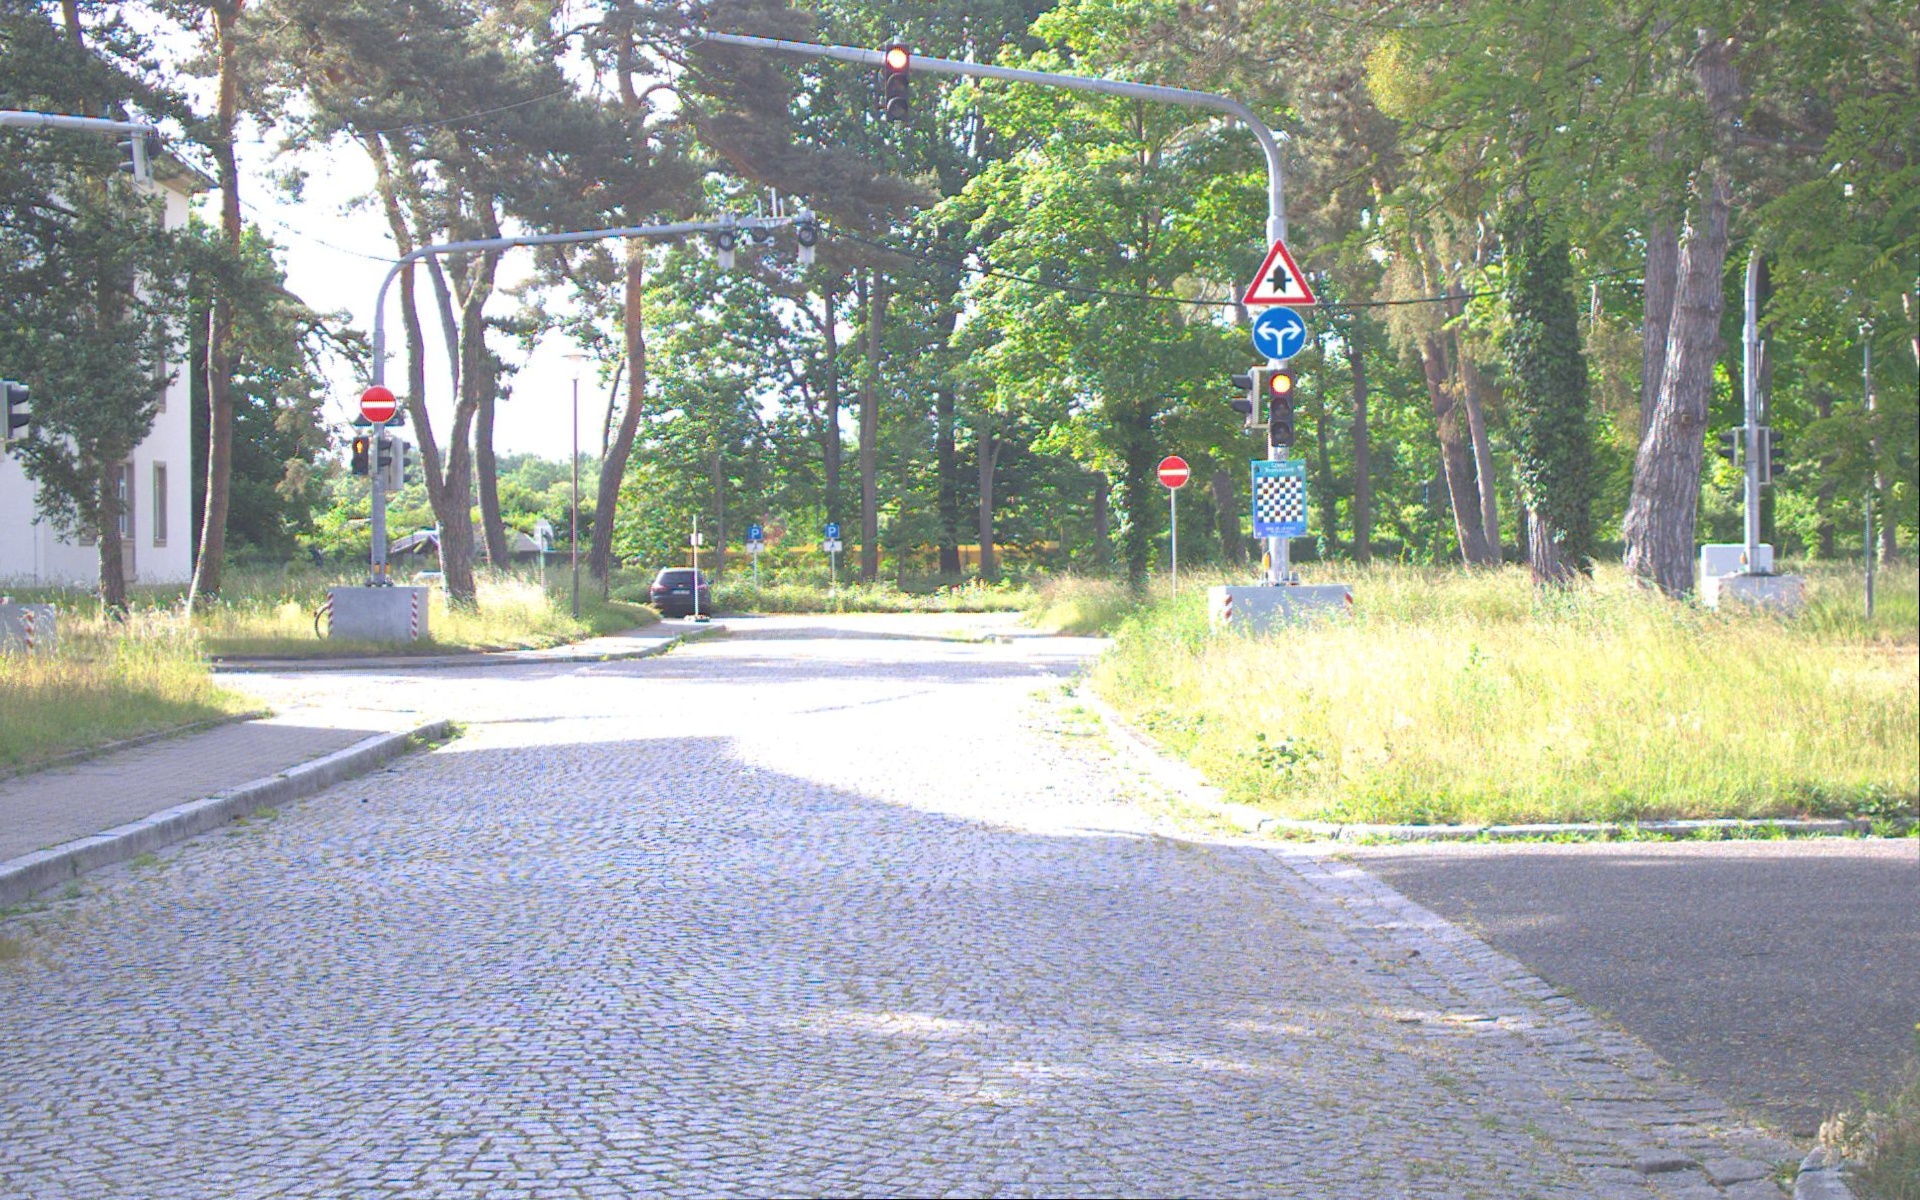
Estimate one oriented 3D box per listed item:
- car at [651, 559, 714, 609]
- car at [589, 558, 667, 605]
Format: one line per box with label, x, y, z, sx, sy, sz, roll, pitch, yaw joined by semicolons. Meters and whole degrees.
car;-8.540;-0.506;105.934;1.844;1.481;4.001;0;1;-4
car;-10.671;-0.608;110.659;1.783;1.485;3.754;0;1;6
